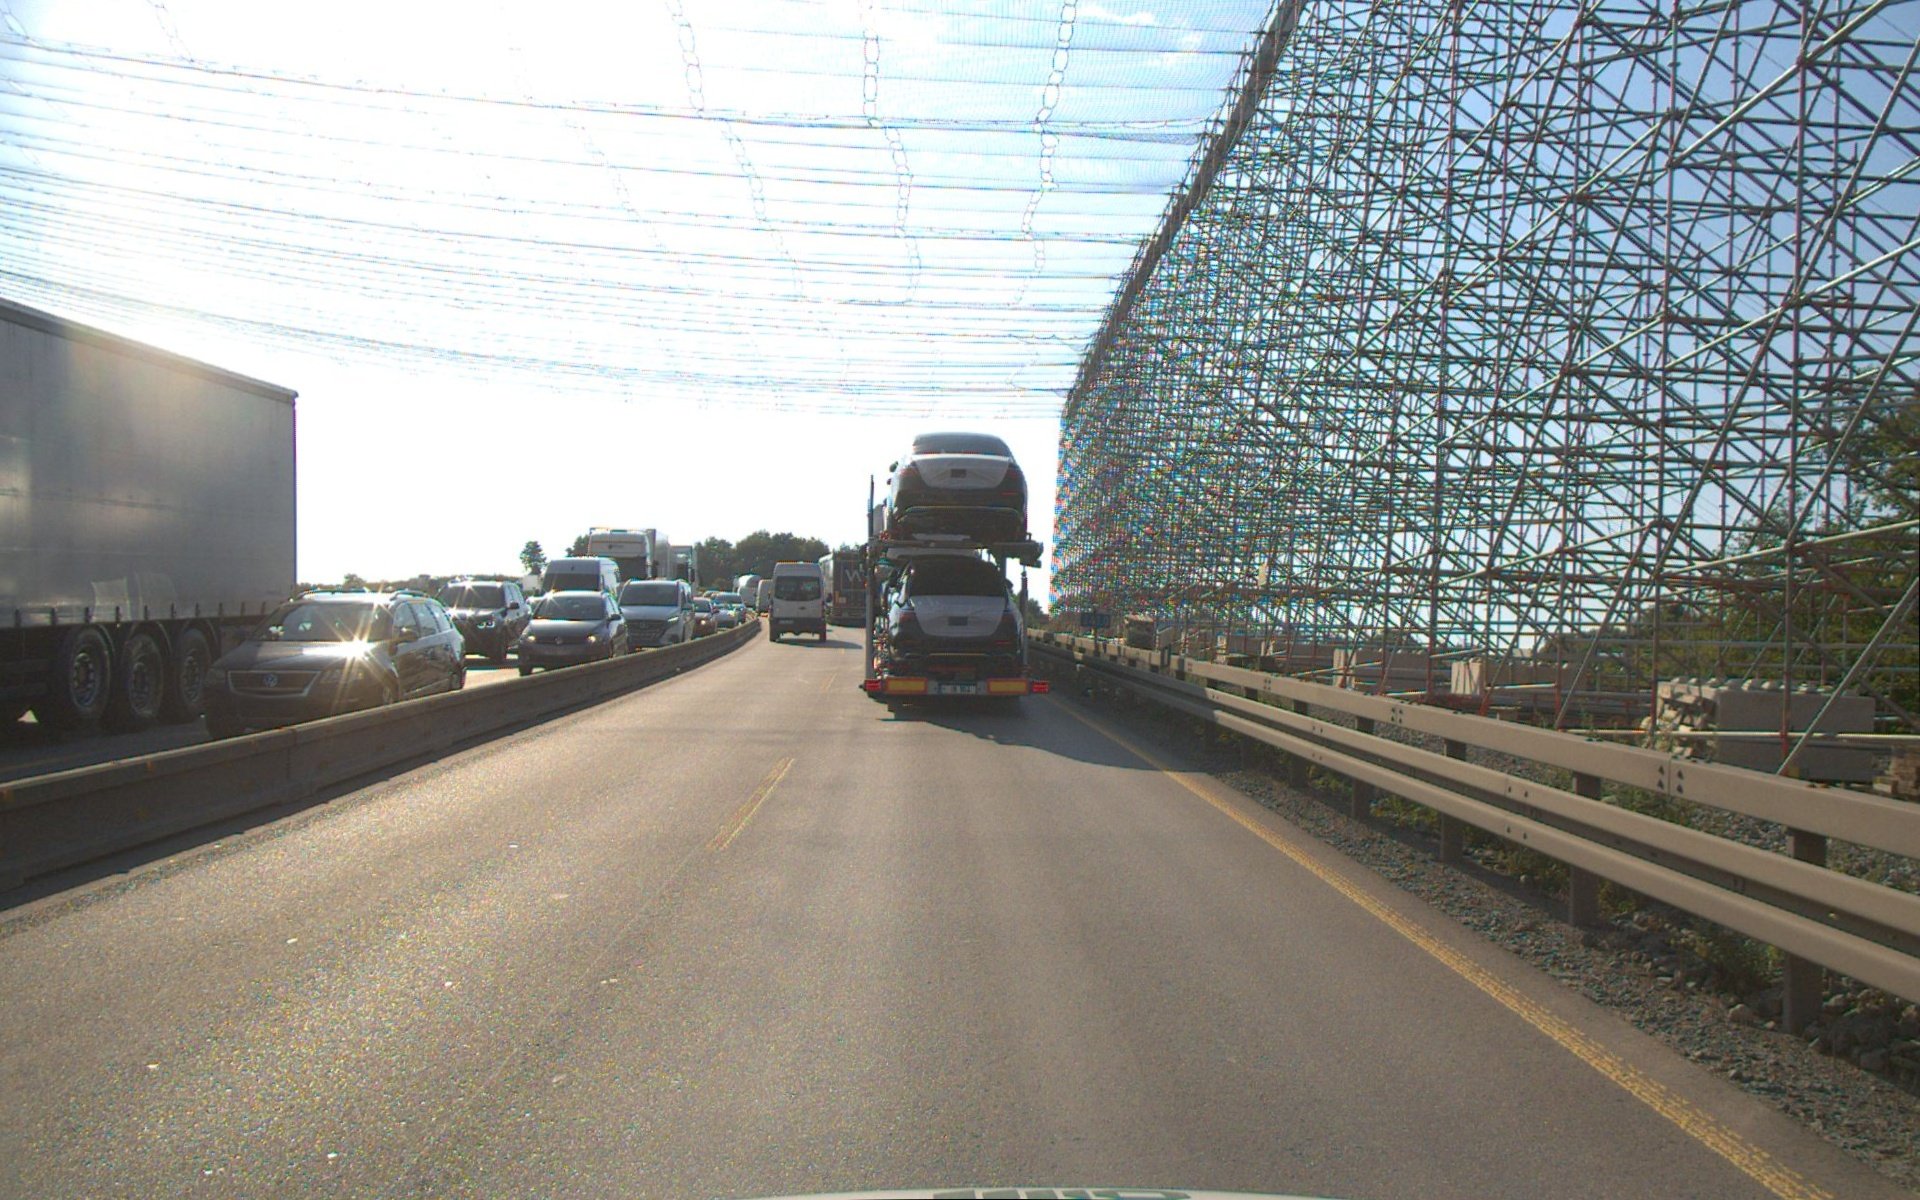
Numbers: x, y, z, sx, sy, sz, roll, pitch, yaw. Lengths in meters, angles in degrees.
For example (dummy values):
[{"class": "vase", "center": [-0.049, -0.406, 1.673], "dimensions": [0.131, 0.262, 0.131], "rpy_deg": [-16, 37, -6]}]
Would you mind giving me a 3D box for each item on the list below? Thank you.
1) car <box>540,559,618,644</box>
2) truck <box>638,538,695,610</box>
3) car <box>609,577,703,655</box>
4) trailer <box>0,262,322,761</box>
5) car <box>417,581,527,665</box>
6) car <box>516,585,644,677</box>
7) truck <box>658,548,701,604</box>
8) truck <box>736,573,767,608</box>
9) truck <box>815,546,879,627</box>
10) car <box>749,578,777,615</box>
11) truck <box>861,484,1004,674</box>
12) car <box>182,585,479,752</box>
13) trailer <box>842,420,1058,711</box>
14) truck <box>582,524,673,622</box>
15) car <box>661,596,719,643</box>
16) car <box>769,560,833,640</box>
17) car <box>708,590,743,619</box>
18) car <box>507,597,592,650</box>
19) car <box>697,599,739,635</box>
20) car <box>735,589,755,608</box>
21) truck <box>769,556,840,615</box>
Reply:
[{"class": "car", "center": [-12.142, 0.045, 52.931], "dimensions": [1.956, 2.586, 3.993], "rpy_deg": [2, 0, -7]}, {"class": "truck", "center": [-15.752, -1.328, 89.369], "dimensions": [2.546, 3.534, 12.368], "rpy_deg": [2, 0, -8]}, {"class": "car", "center": [-7.994, 0.395, 43.804], "dimensions": [1.799, 1.926, 3.999], "rpy_deg": [2, 0, -2]}, {"class": "trailer", "center": [-9.656, -0.790, 15.265], "dimensions": [2.600, 4.307, 13.912], "rpy_deg": [2, 0, -2]}, {"class": "car", "center": [-10.706, 0.471, 36.518], "dimensions": [1.647, 1.713, 3.994], "rpy_deg": [2, 0, -7]}, {"class": "car", "center": [-7.425, 0.579, 32.674], "dimensions": [1.661, 1.657, 3.999], "rpy_deg": [2, 0, -2]}, {"class": "truck", "center": [-19.100, -1.567, 113.111], "dimensions": [2.546, 3.534, 12.368], "rpy_deg": [2, 0, -8]}, {"class": "truck", "center": [-23.291, -1.074, 184.544], "dimensions": [2.570, 3.788, 9.632], "rpy_deg": [2, 0, -11]}, {"class": "truck", "center": [-6.769, -0.787, 97.500], "dimensions": [2.681, 4.462, 11.497], "rpy_deg": [1, 0, -9]}, {"class": "car", "center": [-14.364, -0.252, 120.666], "dimensions": [1.956, 2.623, 3.994], "rpy_deg": [2, 0, -7]}, {"class": "truck", "center": [-0.650, -0.386, 36.554], "dimensions": [2.824, 3.767, 7.322], "rpy_deg": [0, -1, -2]}, {"class": "car", "center": [-6.702, 0.662, 18.140], "dimensions": [1.707, 1.570, 4.403], "rpy_deg": [2, 0, -3]}, {"class": "trailer", "center": [-0.371, -0.385, 29.120], "dimensions": [2.811, 3.790, 14.940], "rpy_deg": [0, -1, -2]}, {"class": "truck", "center": [-13.365, -1.012, 67.348], "dimensions": [2.545, 3.534, 12.374], "rpy_deg": [2, 0, -7]}, {"class": "car", "center": [-9.113, 0.636, 55.935], "dimensions": [1.803, 1.479, 3.992], "rpy_deg": [2, 0, -9]}, {"class": "car", "center": [-5.496, 0.034, 57.478], "dimensions": [1.917, 2.667, 3.998], "rpy_deg": [0, -1, -2]}, {"class": "car", "center": [-12.456, 0.220, 87.651], "dimensions": [1.670, 1.479, 3.990], "rpy_deg": [2, 0, -10]}, {"class": "car", "center": [-10.908, 0.620, 44.180], "dimensions": [1.552, 1.355, 3.996], "rpy_deg": [0, -1, -4]}, {"class": "car", "center": [-10.783, 0.726, 73.588], "dimensions": [1.670, 1.479, 3.990], "rpy_deg": [2, 0, -10]}, {"class": "car", "center": [-19.764, -0.120, 152.063], "dimensions": [1.677, 1.646, 3.500], "rpy_deg": [0, -1, -4]}, {"class": "truck", "center": [-12.535, -1.051, 131.780], "dimensions": [3.624, 4.294, 13.620], "rpy_deg": [-2, 0, -13]}]
